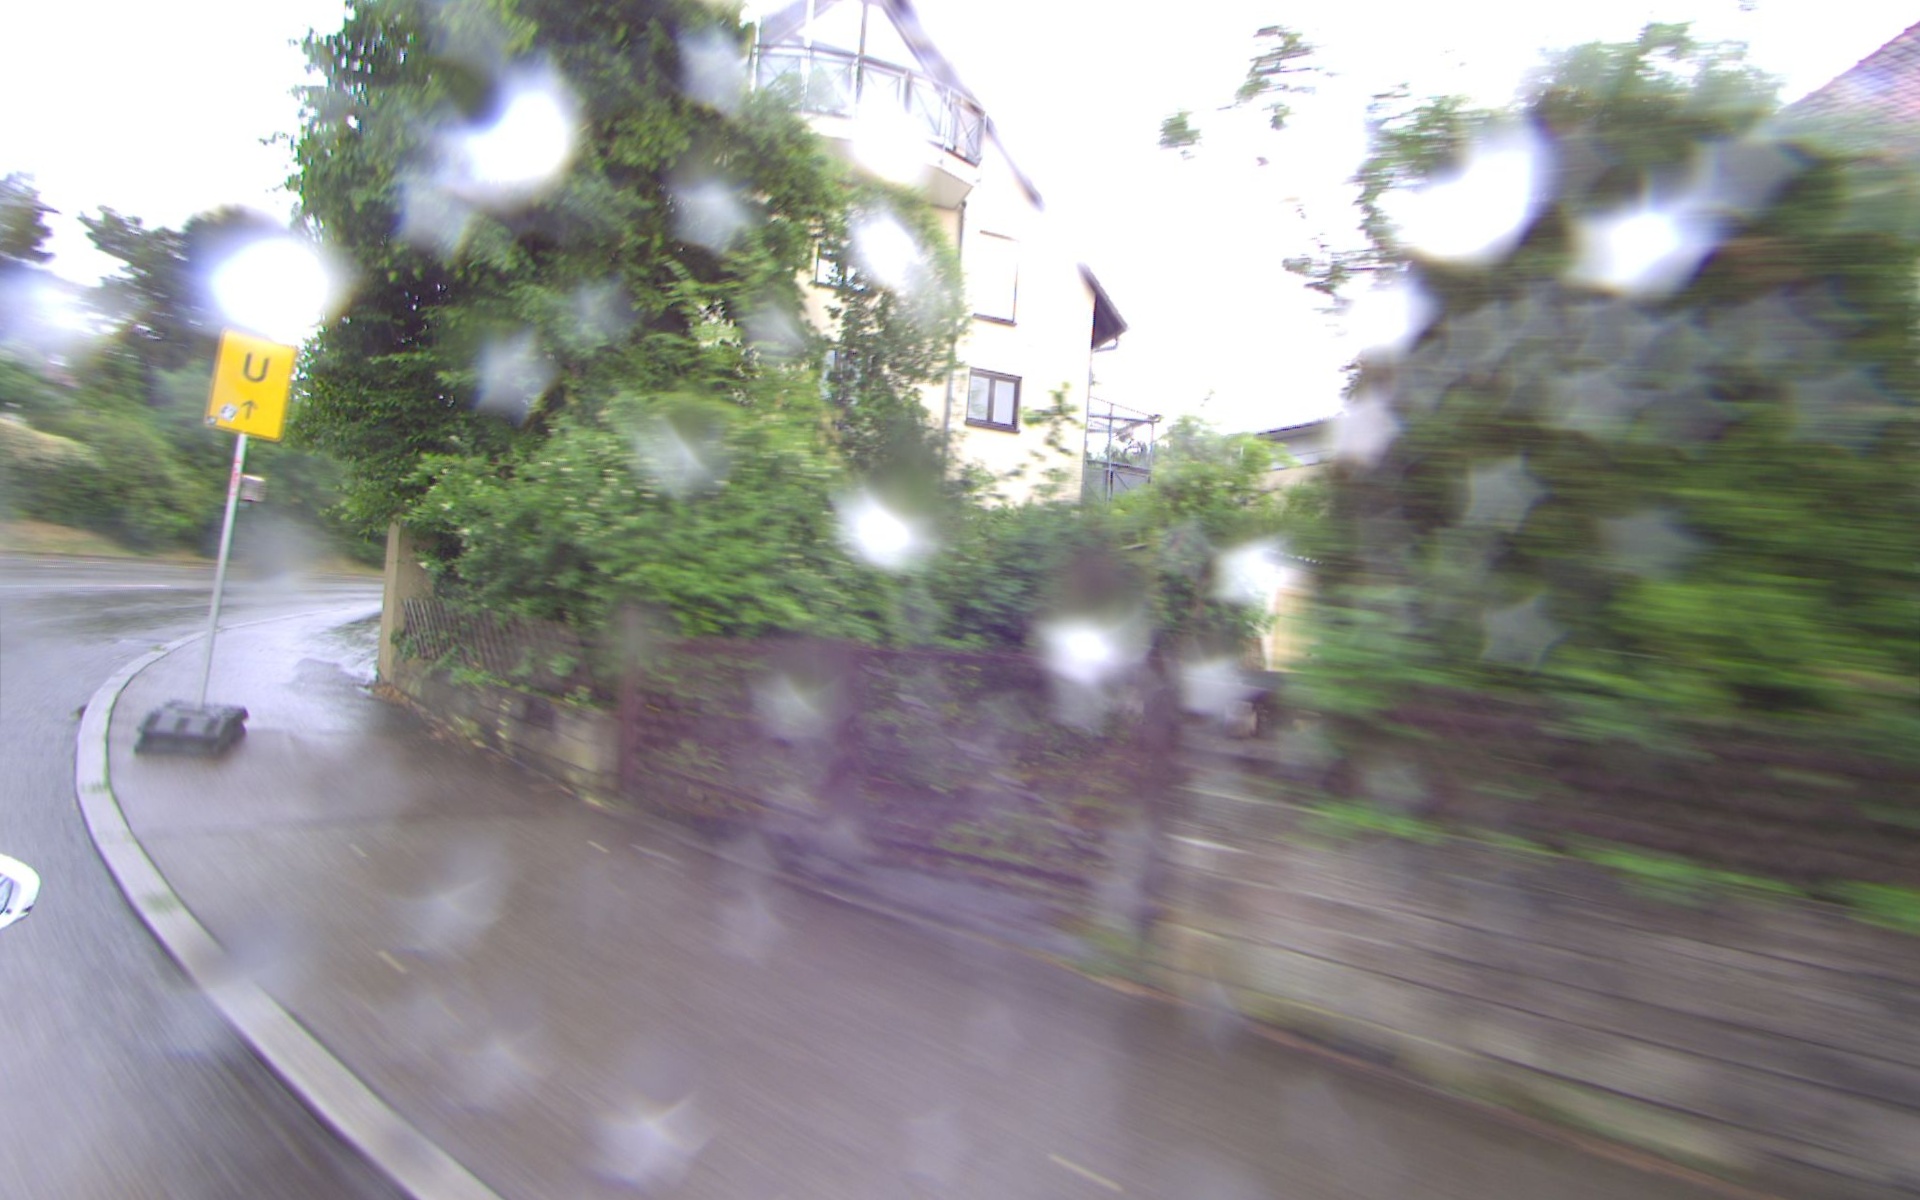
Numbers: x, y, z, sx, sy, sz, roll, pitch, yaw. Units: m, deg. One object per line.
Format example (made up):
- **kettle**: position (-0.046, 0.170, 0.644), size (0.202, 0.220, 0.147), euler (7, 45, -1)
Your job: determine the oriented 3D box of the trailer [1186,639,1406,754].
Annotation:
- **trailer**: position (4.492, 1.298, 13.294), size (2.952, 1.125, 1.390), euler (10, -3, -41)
